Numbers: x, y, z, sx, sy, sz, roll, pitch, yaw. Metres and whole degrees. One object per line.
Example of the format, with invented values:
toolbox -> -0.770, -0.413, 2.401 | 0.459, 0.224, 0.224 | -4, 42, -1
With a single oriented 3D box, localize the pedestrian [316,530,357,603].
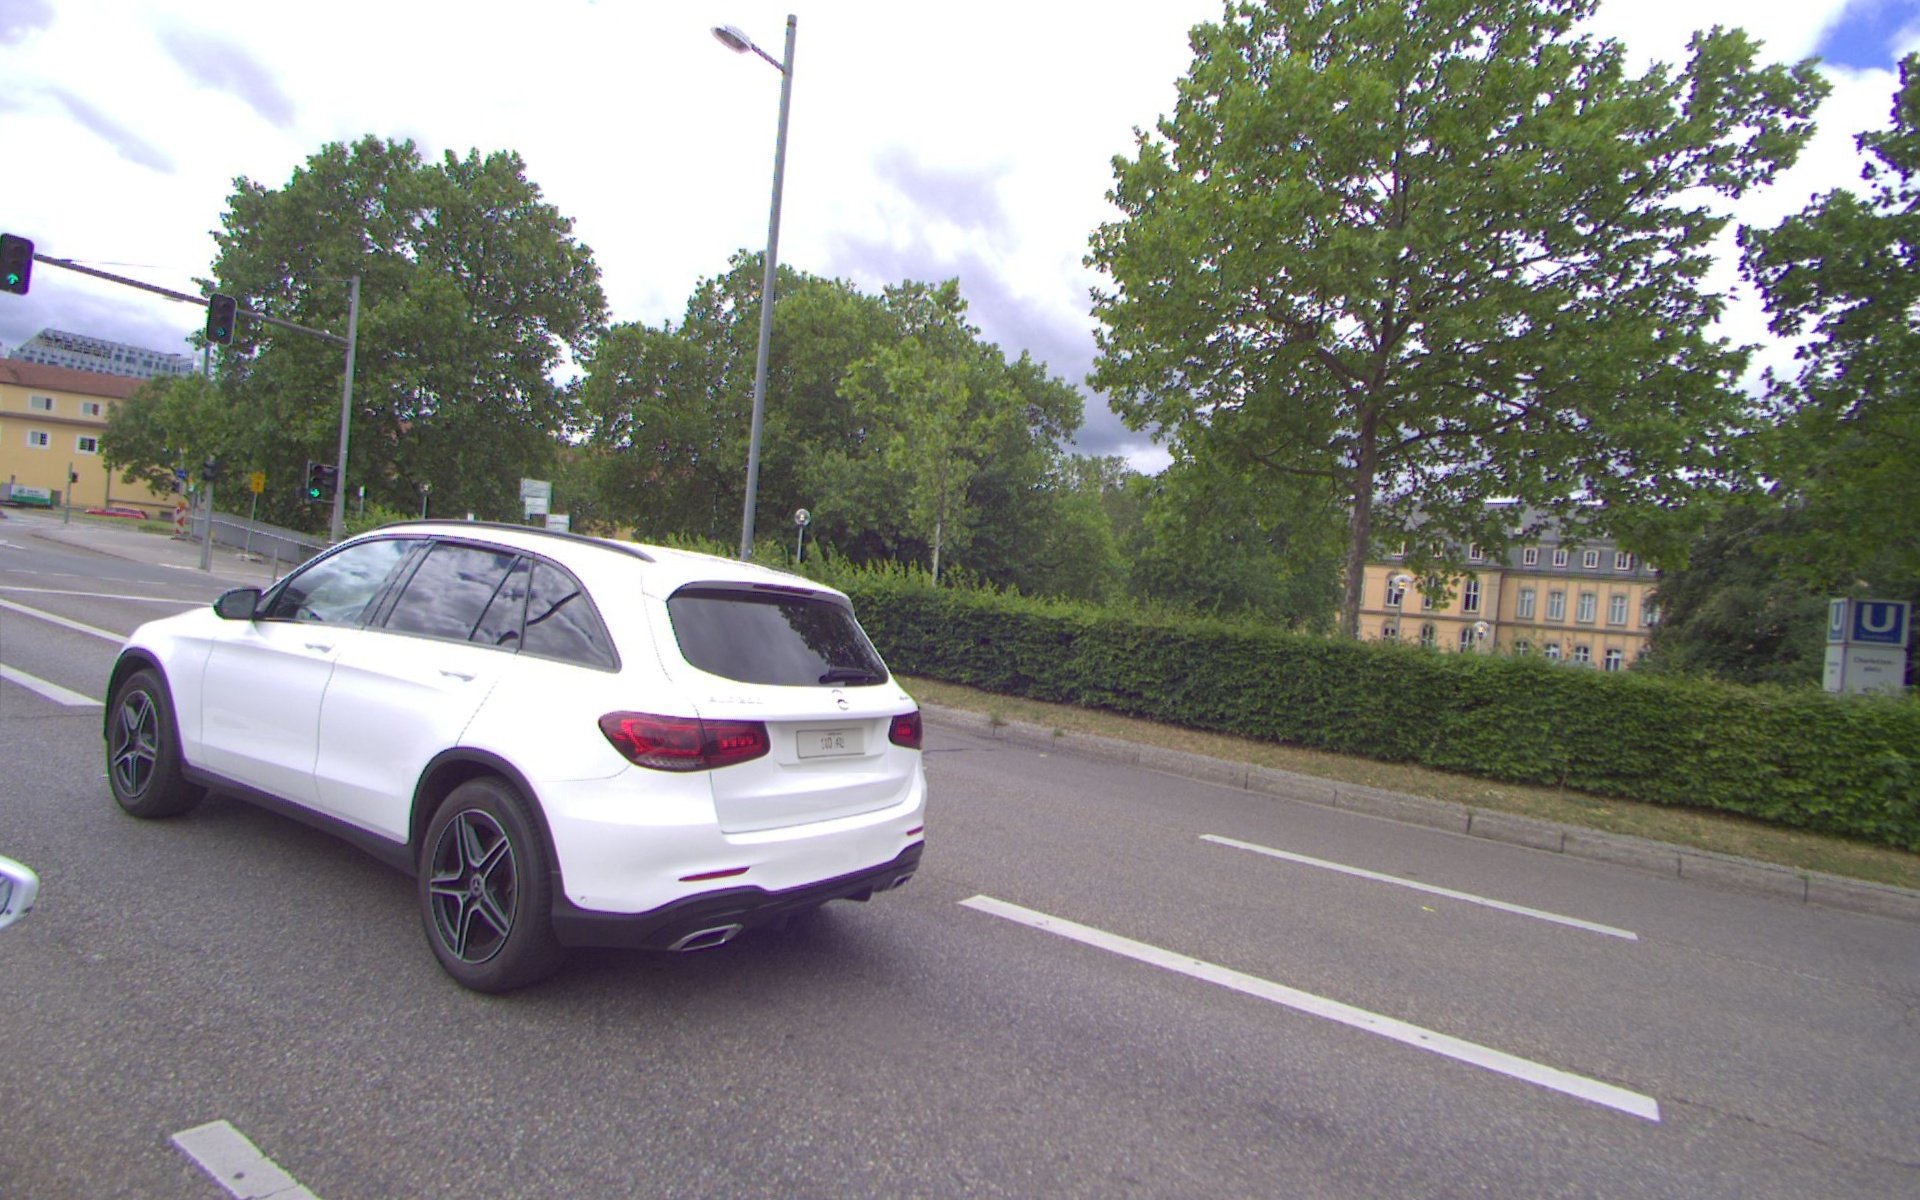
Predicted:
pedestrian -> -15.815, -0.849, 25.525 | 0.610, 1.785, 0.479 | 7, 0, 29

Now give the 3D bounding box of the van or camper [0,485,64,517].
van or camper -> -79.989, -8.559, 85.006 | 5.945, 2.038, 2.009 | 7, 0, -23

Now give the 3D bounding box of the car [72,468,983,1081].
car -> -2.278, 0.440, 4.894 | 4.306, 1.667, 1.821 | 7, 0, 32

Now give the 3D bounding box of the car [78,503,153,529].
car -> -73.717, -7.321, 87.918 | 4.636, 1.438, 1.586 | 7, 0, -27
